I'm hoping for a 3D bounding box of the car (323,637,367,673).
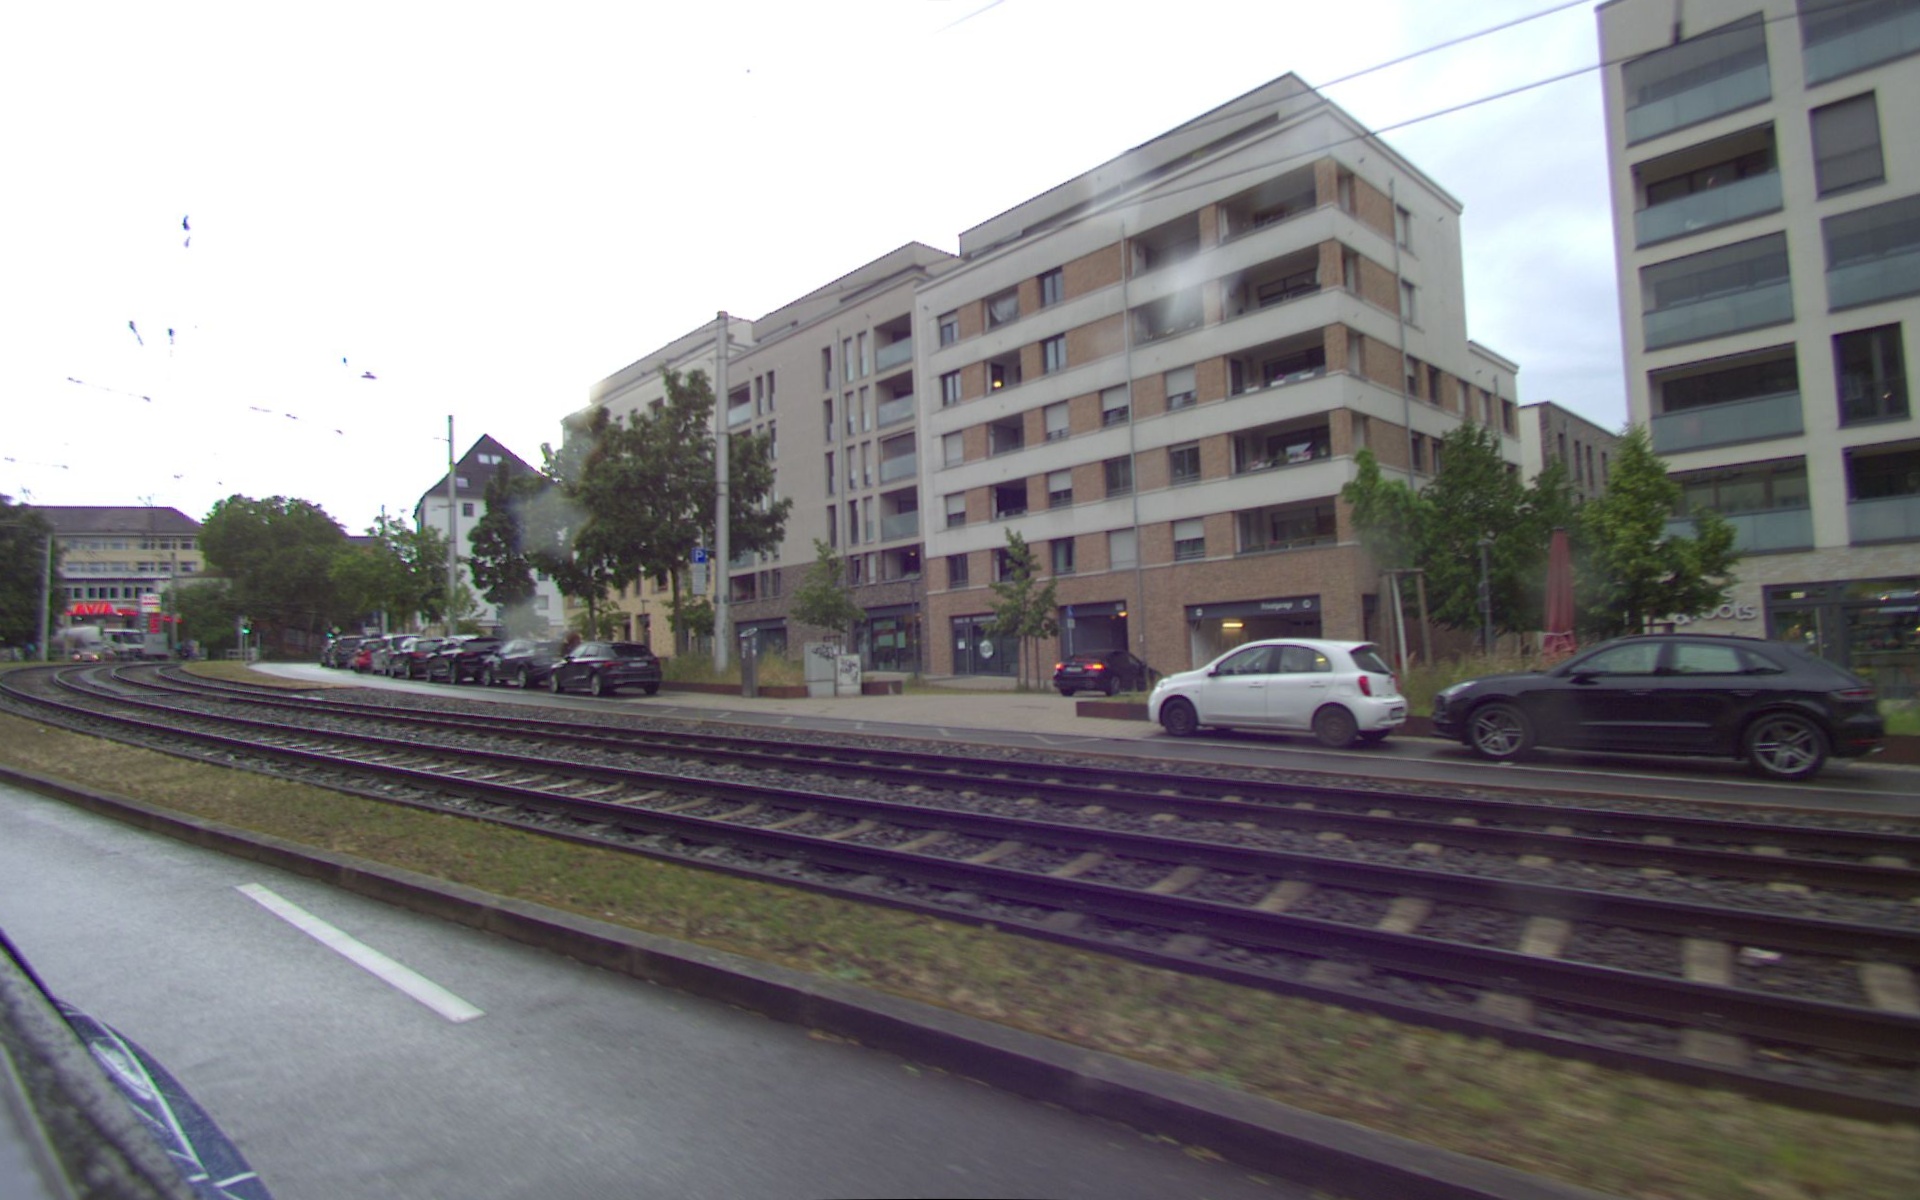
[{"bbox_3d":[-34.009,3.010,55.904,1.561,1.873,4.341,-1,-2,-38],"label":"car"}]

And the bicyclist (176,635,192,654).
[{"bbox_3d":[-54.252,3.139,70.723,0.788,1.304,0.595,2,-1,-43],"label":"bicyclist"}]

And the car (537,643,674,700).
[{"bbox_3d":[-9.879,1.926,28.075,4.201,1.442,1.944,-3,-3,44],"label":"car"}]

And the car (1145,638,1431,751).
[{"bbox_3d":[4.881,1.343,15.342,3.734,1.490,1.746,-2,-4,43],"label":"car"}]

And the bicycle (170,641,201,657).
[{"bbox_3d":[-54.156,3.433,70.791,1.685,1.149,0.626,2,-4,-42],"label":"bicycle"}]

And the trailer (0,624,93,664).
[{"bbox_3d":[-82.477,3.859,88.423,9.665,3.422,2.822,1,-3,-26],"label":"trailer"}]

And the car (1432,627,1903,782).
[{"bbox_3d":[8.329,1.155,12.346,4.397,1.573,1.749,-2,-4,36],"label":"car"}]

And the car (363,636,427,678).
[{"bbox_3d":[-24.927,2.485,44.621,1.642,1.761,4.263,2,-3,-40],"label":"car"}]

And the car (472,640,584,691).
[{"bbox_3d":[-13.901,2.066,32.457,4.256,1.500,1.718,-2,-3,42],"label":"car"}]

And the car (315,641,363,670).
[{"bbox_3d":[-36.782,3.262,59.923,1.967,1.617,4.224,1,-3,-37],"label":"car"}]

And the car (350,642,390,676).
[{"bbox_3d":[-28.064,2.795,48.115,1.449,1.543,2.938,1,-3,-34],"label":"car"}]

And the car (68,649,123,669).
[{"bbox_3d":[-67.038,4.577,78.548,1.858,1.502,3.861,1,-3,-17],"label":"car"}]

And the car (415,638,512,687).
[{"bbox_3d":[-17.611,2.174,35.788,1.781,1.596,4.702,1,-3,-43],"label":"car"}]

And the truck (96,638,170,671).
[{"bbox_3d":[-92.861,6.101,113.854,2.617,3.596,10.284,0,-3,-17],"label":"truck"}]

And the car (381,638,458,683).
[{"bbox_3d":[-21.403,2.345,39.999,1.710,1.657,4.538,1,-3,-41],"label":"car"}]

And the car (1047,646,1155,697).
[{"bbox_3d":[4.348,2.150,30.716,1.758,1.446,3.955,-2,-4,33],"label":"car"}]

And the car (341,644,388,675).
[{"bbox_3d":[-30.568,3.032,51.916,1.530,1.458,4.408,0,-2,-38],"label":"car"}]

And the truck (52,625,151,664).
[{"bbox_3d":[-76.930,3.997,90.826,6.019,3.426,2.846,1,-4,-22],"label":"truck"}]
